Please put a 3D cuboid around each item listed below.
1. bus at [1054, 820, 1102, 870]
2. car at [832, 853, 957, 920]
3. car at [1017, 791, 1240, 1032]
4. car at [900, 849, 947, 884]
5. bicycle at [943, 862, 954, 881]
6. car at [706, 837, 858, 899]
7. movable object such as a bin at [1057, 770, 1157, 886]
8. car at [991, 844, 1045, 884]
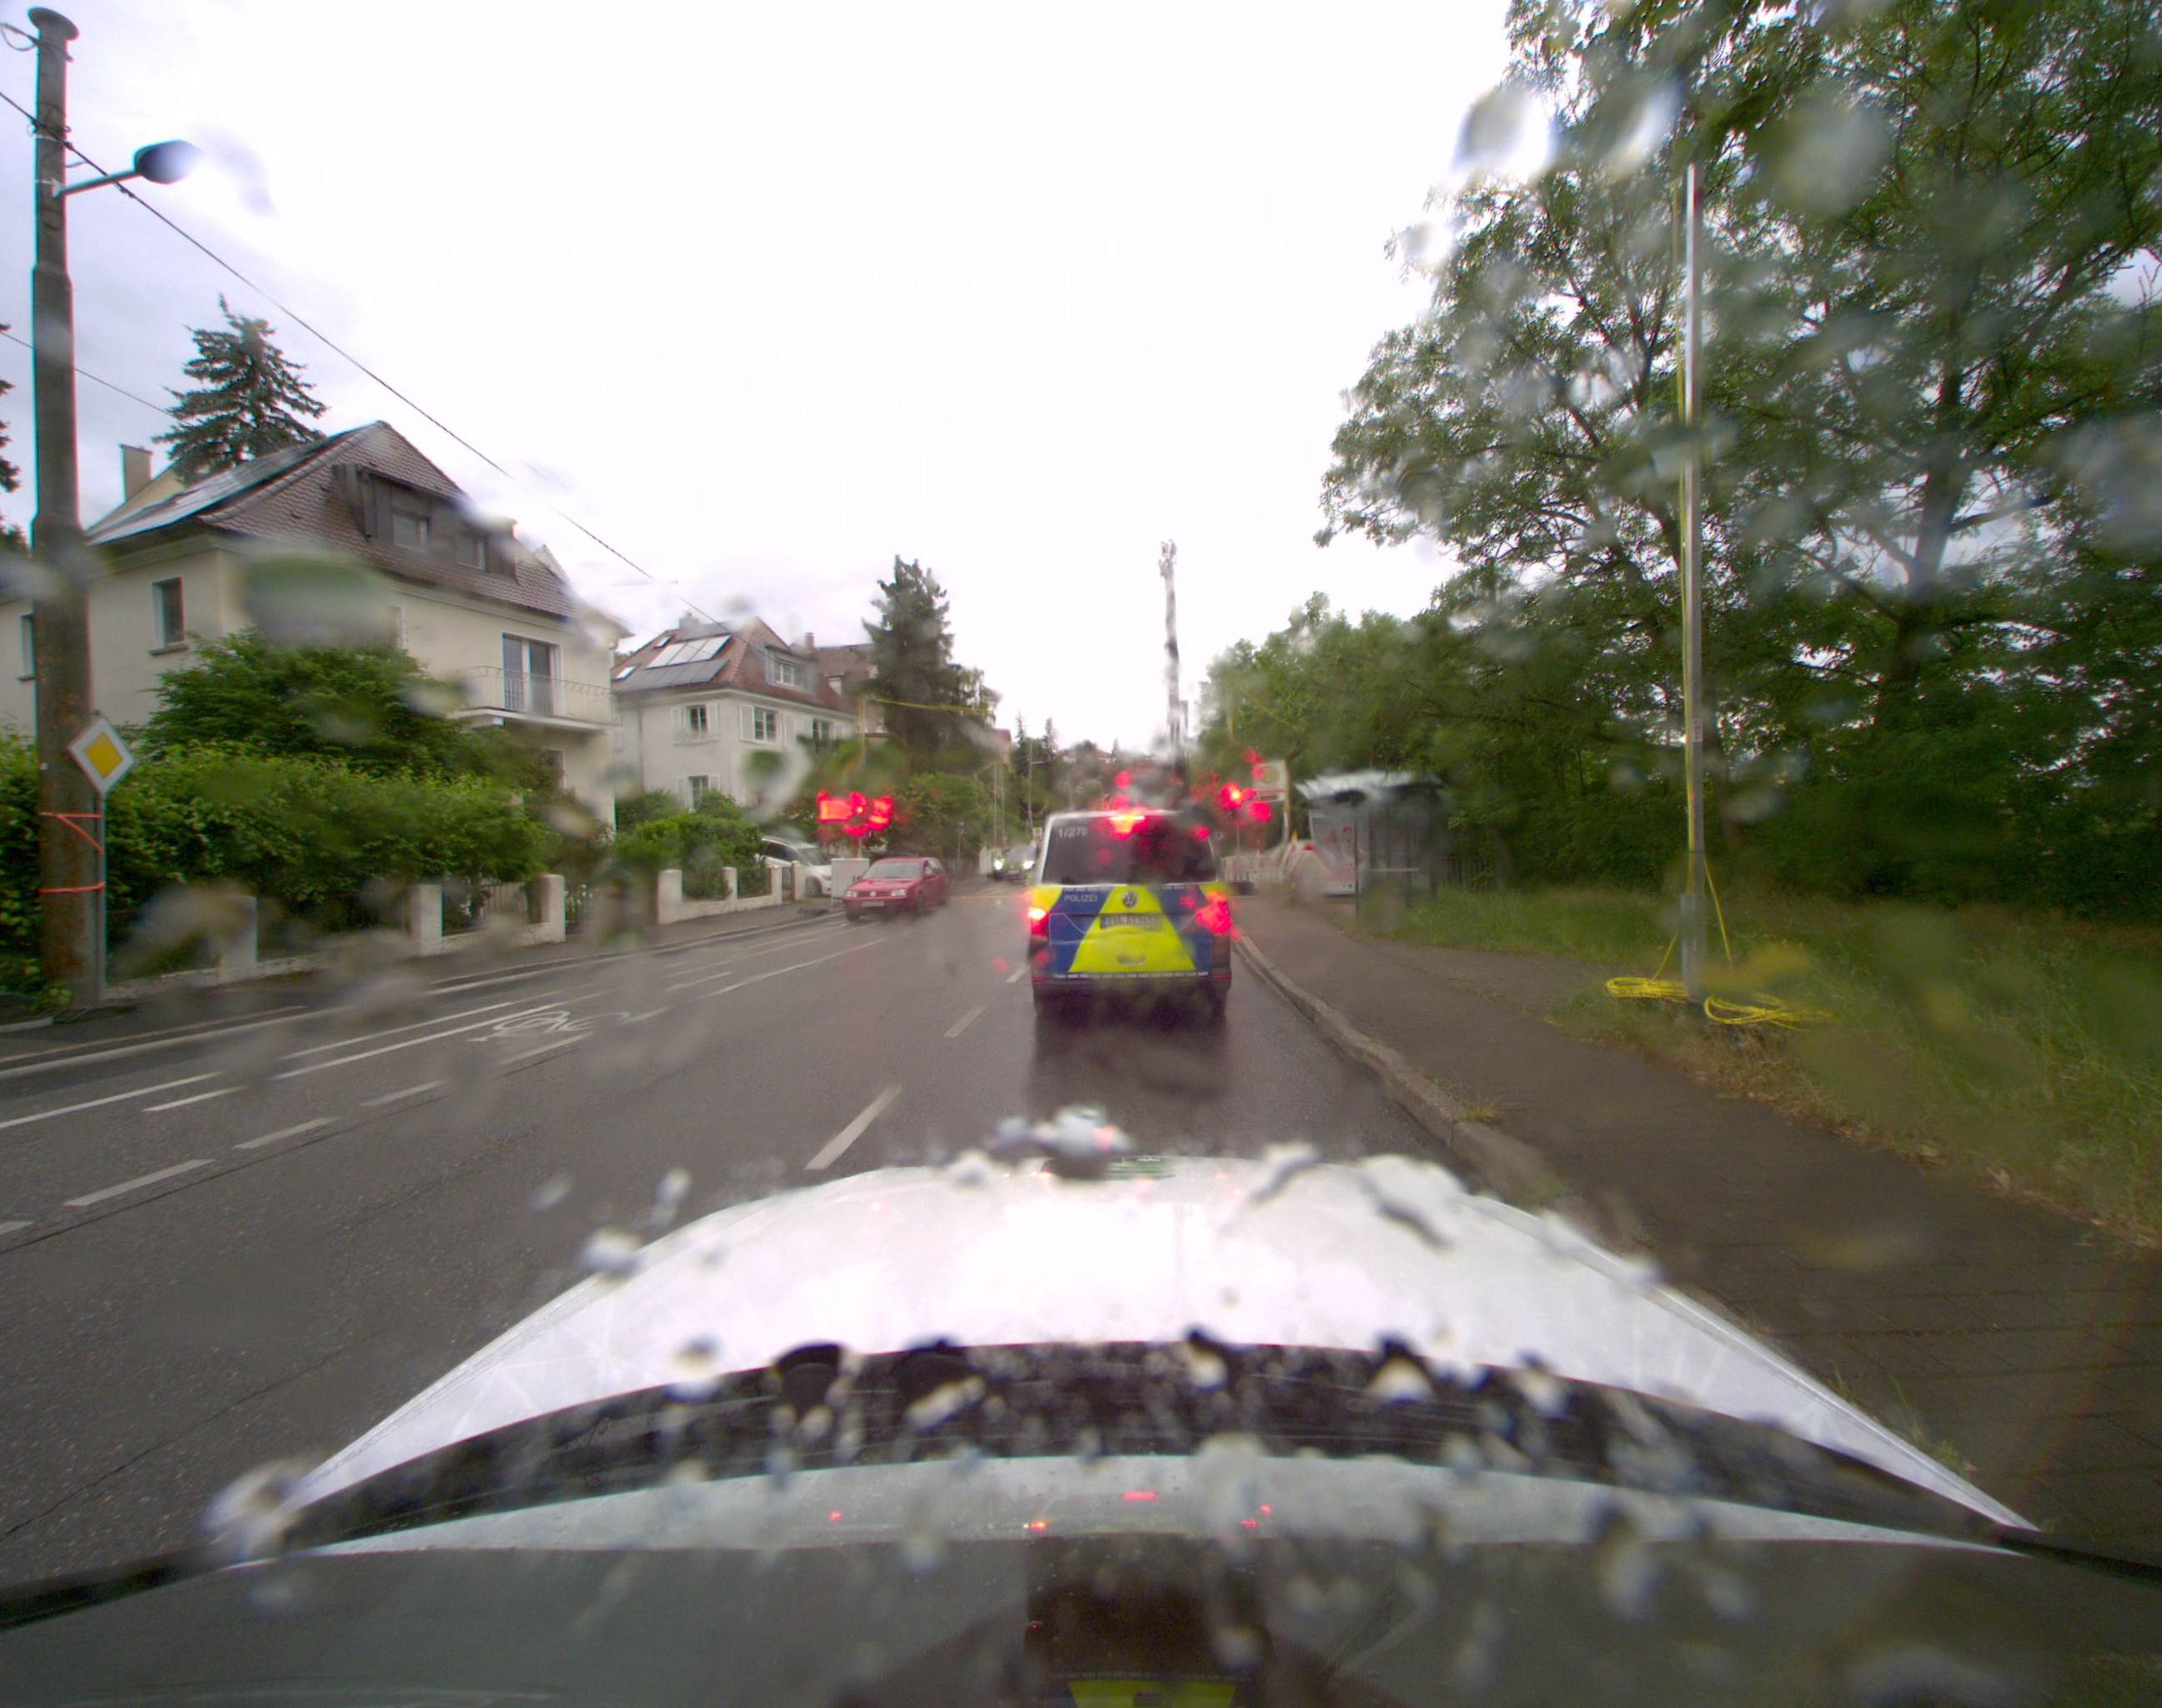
[{"bbox_3d":[-0.075,-0.695,67.784,2.827,3.718,12.022,-1,0,5],"label":"bus"},{"bbox_3d":[-4.408,0.716,19.871,1.755,1.463,3.893,0,0,6],"label":"car"},{"bbox_3d":[0.471,0.486,8.950,1.886,2.050,4.002,0,0,2],"label":"car"},{"bbox_3d":[-7.445,0.565,38.308,1.770,1.486,3.720,0,1,-17],"label":"car"},{"bbox_3d":[-6.491,0.835,39.898,0.463,0.897,1.627,-1,0,-12],"label":"bicycle"},{"bbox_3d":[-10.271,0.468,28.065,4.599,2.007,1.907,0,0,13],"label":"car"},{"bbox_3d":[1.114,-0.925,31.781,2.809,4.177,4.400,0,0,17],"label":"movable object such as a bin"},{"bbox_3d":[-2.897,0.428,38.410,1.971,1.748,4.556,0,0,3],"label":"car"}]
